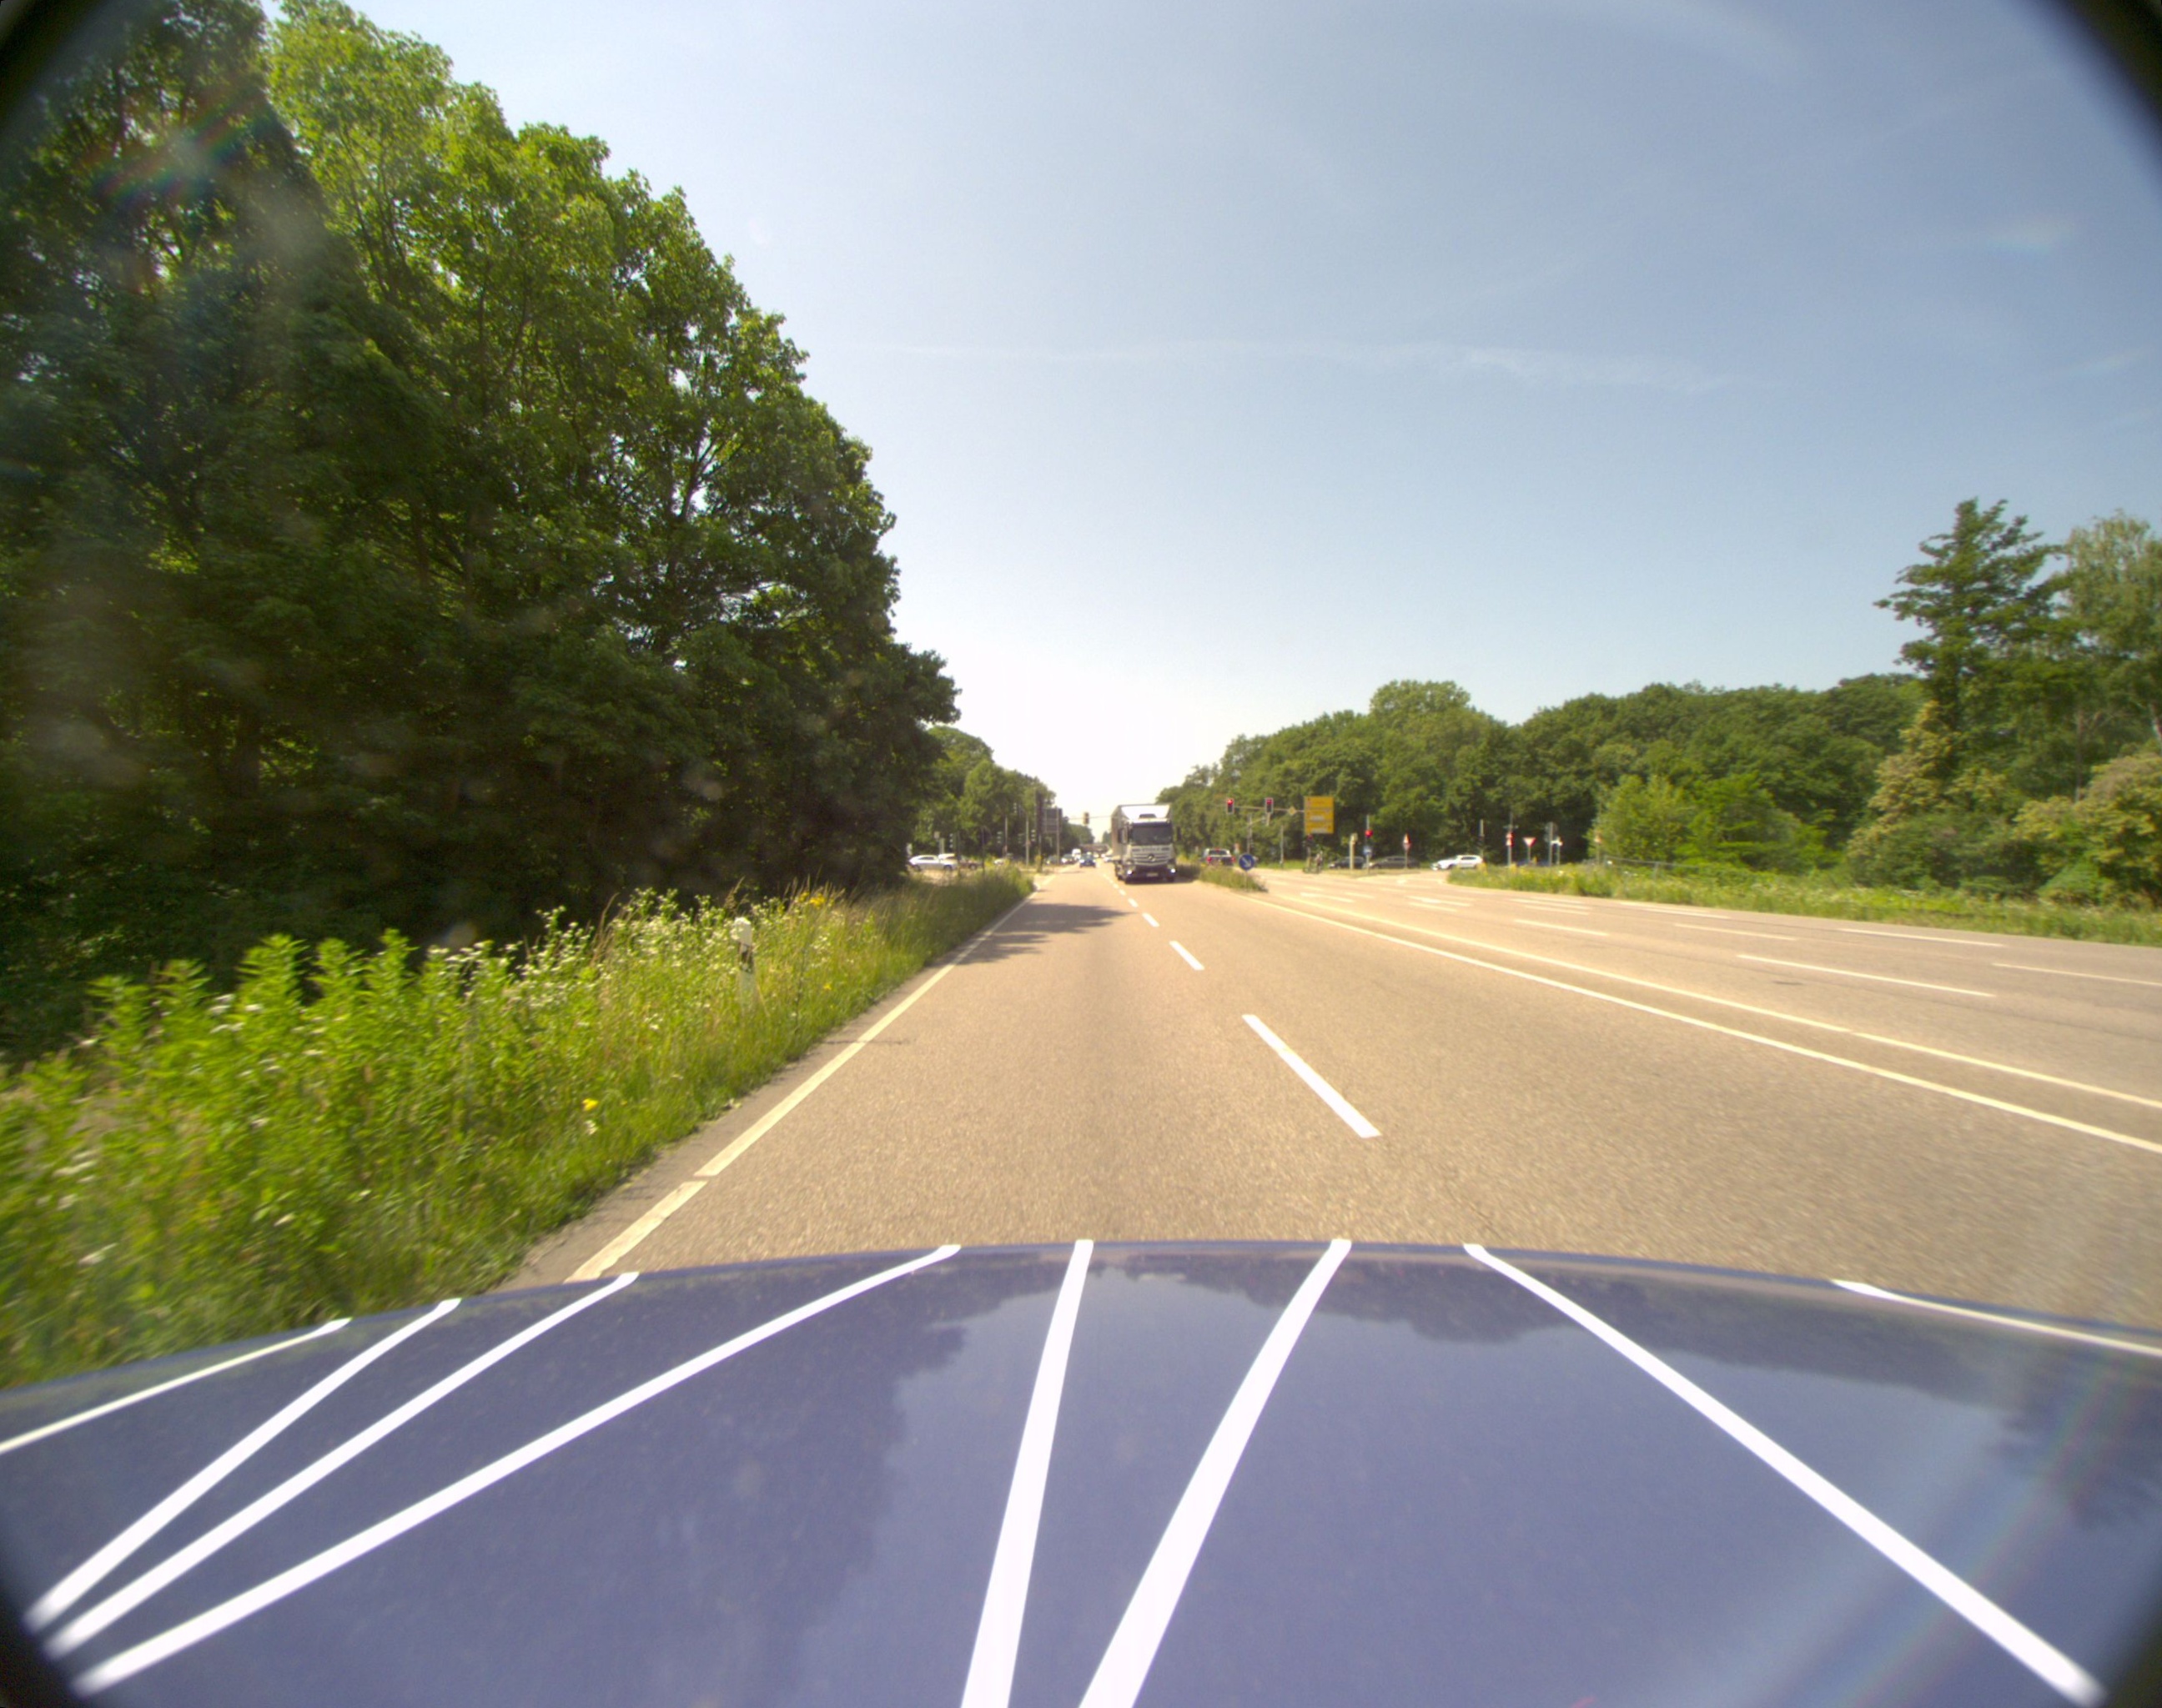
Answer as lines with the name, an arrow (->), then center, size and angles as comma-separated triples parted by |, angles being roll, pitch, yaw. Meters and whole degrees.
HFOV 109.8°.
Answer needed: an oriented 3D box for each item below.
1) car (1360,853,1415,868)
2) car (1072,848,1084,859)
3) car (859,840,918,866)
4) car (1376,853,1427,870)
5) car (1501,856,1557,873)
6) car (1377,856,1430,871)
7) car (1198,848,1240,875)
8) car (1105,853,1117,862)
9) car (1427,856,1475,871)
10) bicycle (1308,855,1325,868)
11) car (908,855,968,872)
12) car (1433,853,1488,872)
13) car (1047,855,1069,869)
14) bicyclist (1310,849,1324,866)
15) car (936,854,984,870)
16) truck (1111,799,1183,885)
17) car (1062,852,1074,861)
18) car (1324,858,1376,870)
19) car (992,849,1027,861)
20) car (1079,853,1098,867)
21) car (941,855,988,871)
car -> 31.109, 0.668, 77.147 | 4.817, 1.510, 1.862 | 0, 0, 0
car -> -0.676, -0.161, 181.839 | 2.673, 2.685, 6.331 | 1, 0, 3
car -> -21.133, -0.130, 83.458 | 6.064, 2.629, 1.973 | -1, 0, -19
car -> 35.837, 0.797, 84.945 | 4.817, 1.887, 2.000 | 0, 0, 1
car -> 47.668, 1.057, 80.903 | 4.817, 1.747, 2.000 | 0, 0, 0
car -> 34.360, 0.996, 81.139 | 4.815, 1.626, 2.001 | 0, 0, 5
car -> 9.332, 0.485, 51.741 | 1.998, 1.668, 5.366 | 1, 0, 2
car -> 5.158, 0.555, 130.708 | 1.998, 1.543, 4.000 | 1, 0, 1
car -> 41.103, 1.072, 84.500 | 4.409, 1.626, 1.872 | 0, 0, 0
bicycle -> 19.616, 0.607, 63.352 | 0.722, 1.057, 1.873 | 1, 0, 39
car -> -12.755, 0.845, 67.895 | 4.943, 1.490, 2.020 | 0, 1, 2
car -> 40.525, 0.884, 81.115 | 4.816, 1.884, 2.066 | 0, 0, 2
car -> -3.042, 1.039, 101.495 | 1.738, 1.681, 3.740 | -1, 1, 17
bicyclist -> 19.686, 0.274, 63.390 | 0.924, 1.451, 0.718 | 1, 1, 39
car -> -11.938, 0.800, 75.319 | 4.431, 1.526, 2.000 | 0, 0, 0
truck -> 3.278, -0.549, 40.550 | 2.753, 3.862, 11.320 | -1, 0, 0
car -> -1.962, 0.384, 114.706 | 1.796, 1.431, 4.228 | 0, 0, 0
car -> 28.734, 1.054, 81.205 | 4.816, 1.283, 2.106 | 0, 0, 2
car -> -8.684, 0.116, 92.514 | 1.792, 1.452, 4.237 | 0, 0, 38
car -> 0.810, 0.640, 83.046 | 1.992, 1.575, 4.364 | 0, 0, 0
car -> -10.886, 0.826, 71.443 | 4.102, 1.438, 1.995 | 0, 0, -1
